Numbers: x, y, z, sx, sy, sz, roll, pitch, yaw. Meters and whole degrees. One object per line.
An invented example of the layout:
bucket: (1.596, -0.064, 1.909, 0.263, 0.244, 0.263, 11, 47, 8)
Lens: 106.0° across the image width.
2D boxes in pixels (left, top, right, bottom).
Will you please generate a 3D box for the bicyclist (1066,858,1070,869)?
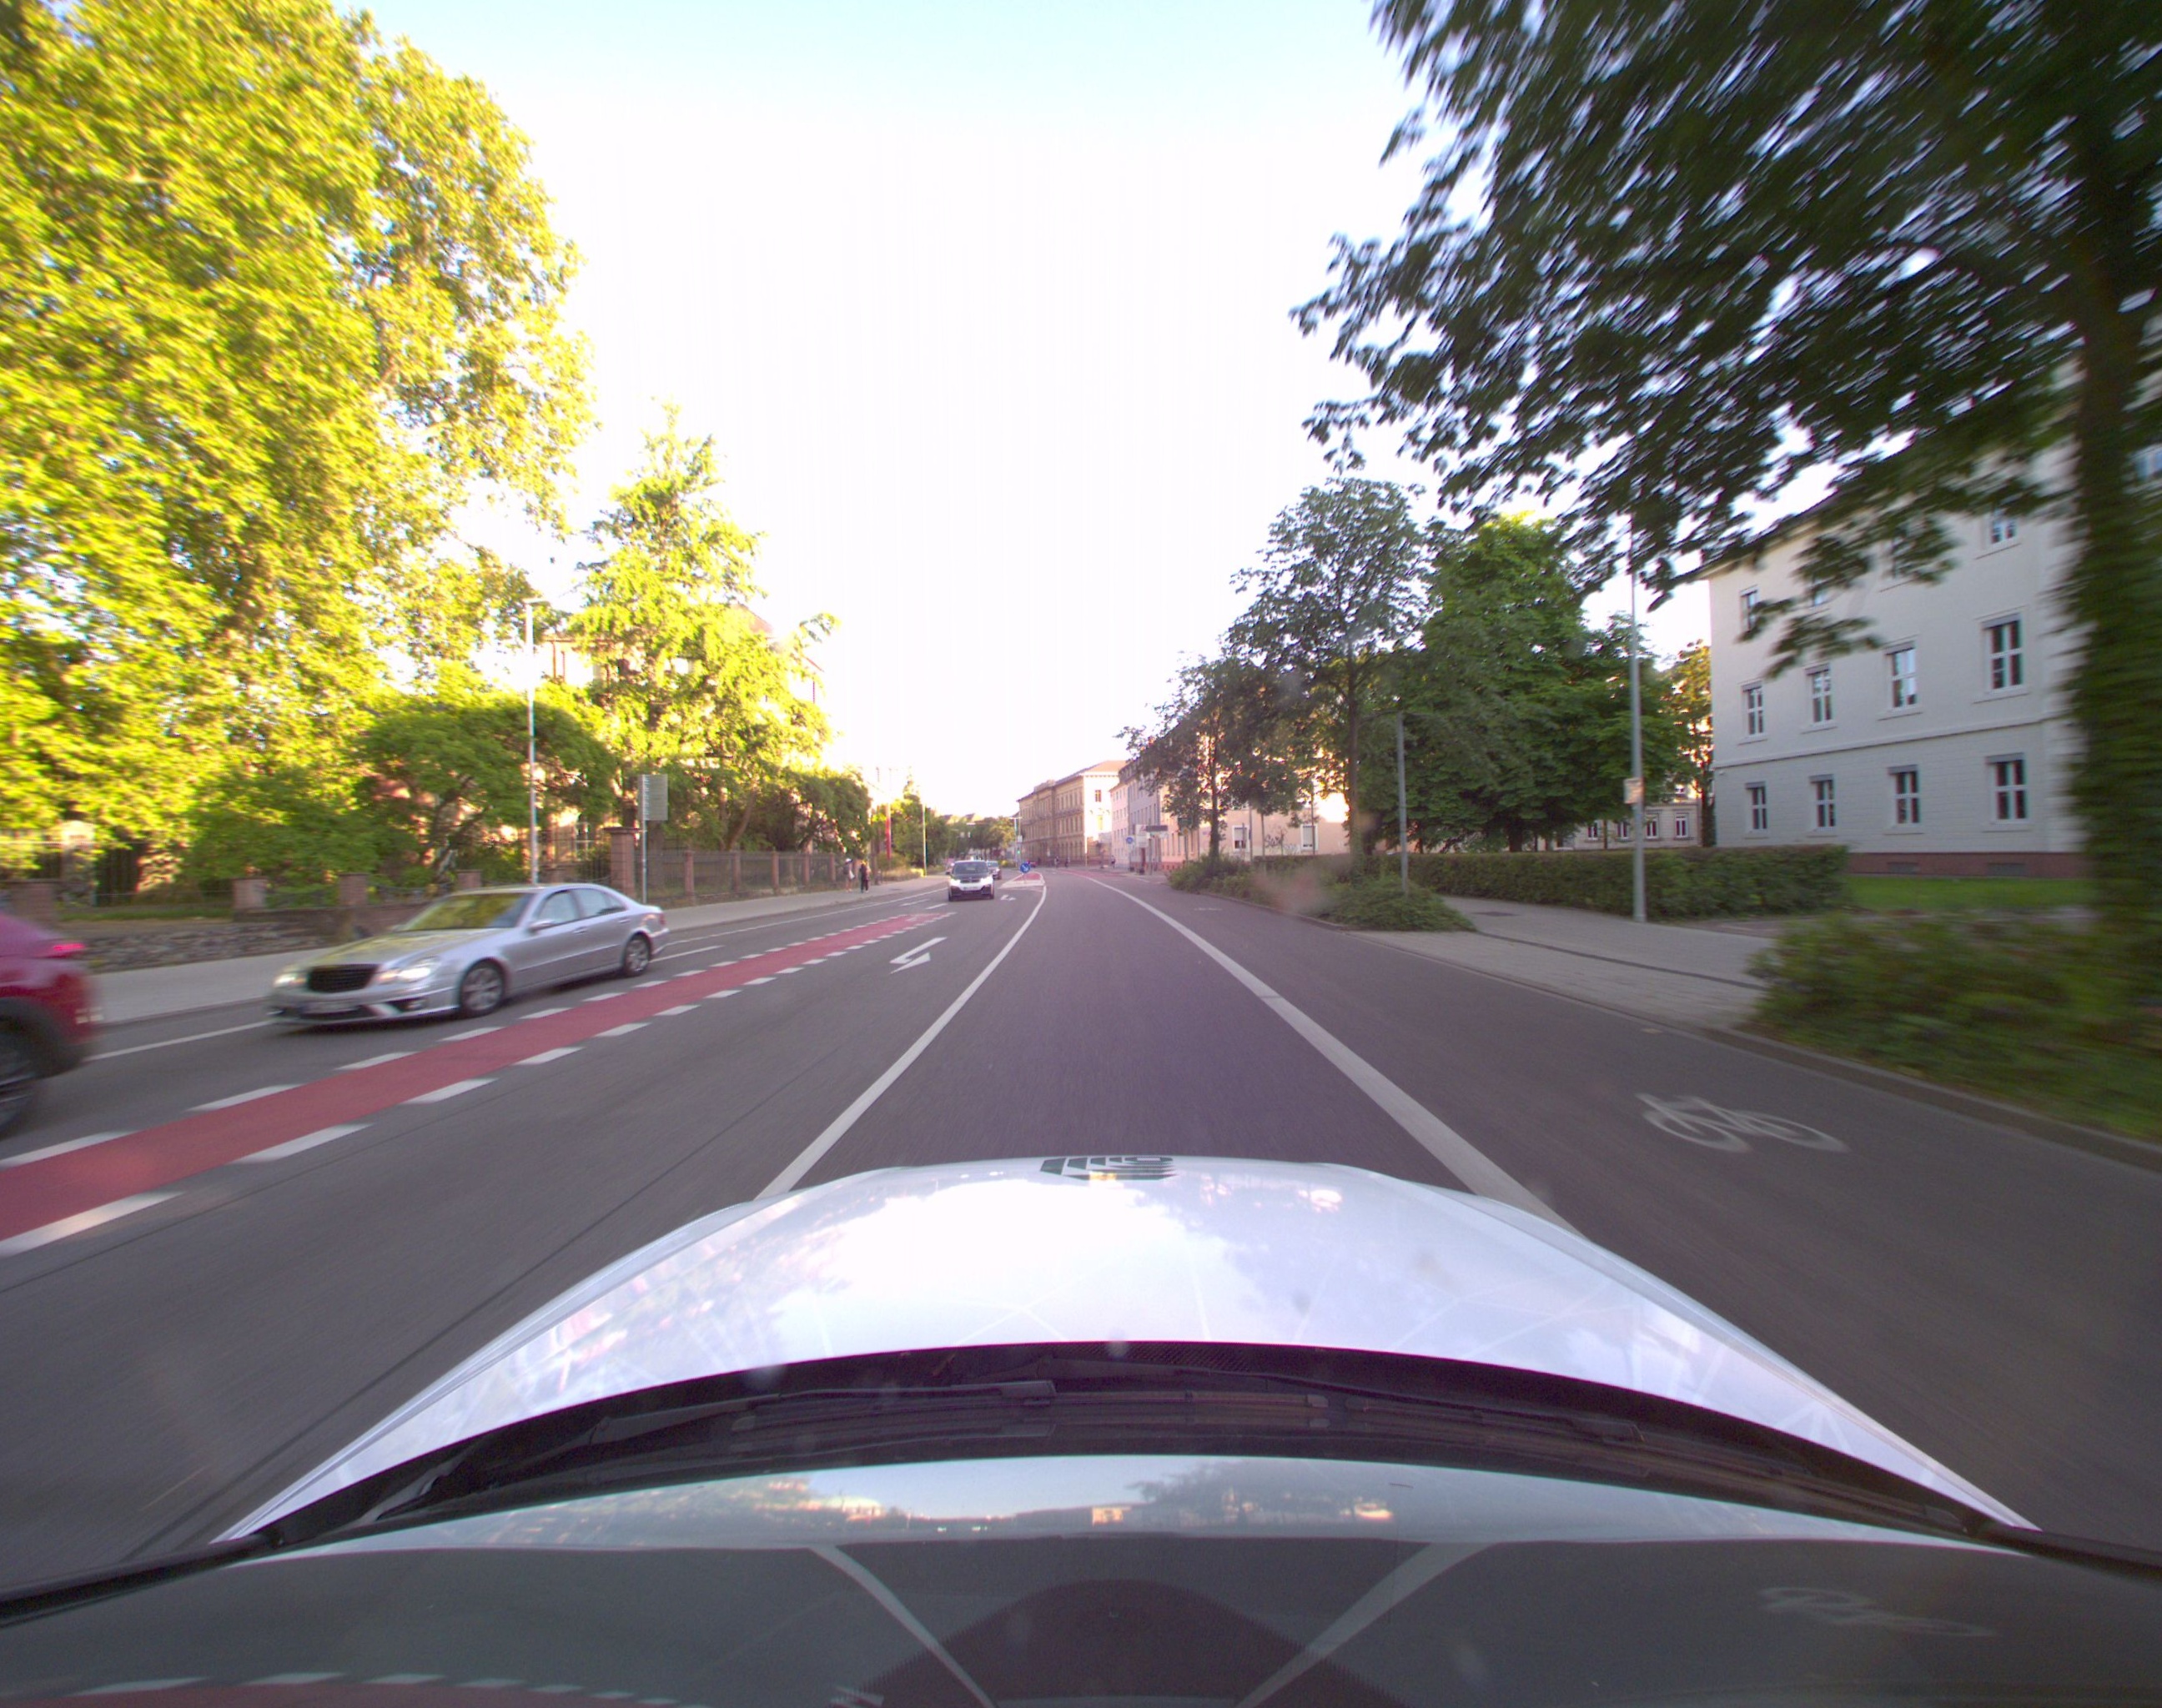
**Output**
bicyclist: (-1.895, 1.387, 118.470, 0.650, 1.475, 0.940, 1, 0, -1)

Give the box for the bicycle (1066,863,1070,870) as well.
bicycle: (-1.911, 1.807, 118.463, 0.650, 1.015, 2.196, 1, 0, -1)

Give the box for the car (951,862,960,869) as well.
car: (-29.509, 2.702, 191.586, 1.994, 1.585, 3.986, -1, 0, -10)

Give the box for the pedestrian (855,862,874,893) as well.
pedestrian: (-11.238, 1.217, 42.325, 0.676, 1.622, 0.691, -1, 0, 11)

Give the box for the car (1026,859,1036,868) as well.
car: (-8.866, 1.708, 144.168, 1.864, 1.510, 3.993, 0, -1, -4)

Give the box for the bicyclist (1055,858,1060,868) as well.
bicyclist: (-3.412, 1.363, 118.563, 0.650, 1.446, 0.879, 1, -1, -2)

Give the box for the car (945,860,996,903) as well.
car: (-4.416, 1.048, 32.980, 1.846, 1.526, 3.991, -3, 0, -6)

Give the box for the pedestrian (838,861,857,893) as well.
pedestrian: (-12.146, 1.180, 42.356, 0.677, 1.622, 0.689, -1, 0, 5)

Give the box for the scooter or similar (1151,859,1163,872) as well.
scooter or similar: (7.690, 1.184, 82.721, 0.629, 1.337, 2.394, -1, -1, -8)

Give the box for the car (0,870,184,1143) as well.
car: (-7.521, 0.974, 3.555, 1.909, 1.624, 4.641, -3, 0, 2)

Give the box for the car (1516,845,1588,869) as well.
car: (35.174, 0.229, 60.861, 4.224, 1.481, 1.872, -3, -1, 3)

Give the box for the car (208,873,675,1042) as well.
car: (-7.336, 1.053, 10.205, 1.909, 1.418, 4.772, -3, 0, 2)

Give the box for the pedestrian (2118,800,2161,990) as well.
pedestrian: (10.224, 0.366, 7.317, 0.768, 1.739, 0.806, -1, 0, -4)

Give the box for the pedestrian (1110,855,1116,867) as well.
pedestrian: (4.424, 0.980, 112.803, 0.759, 1.755, 0.845, -1, -1, 3)

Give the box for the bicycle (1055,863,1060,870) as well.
bicycle: (-3.424, 1.849, 118.568, 0.650, 1.015, 2.196, 1, 0, -1)

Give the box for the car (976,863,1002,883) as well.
car: (-7.173, 1.457, 63.453, 1.834, 1.439, 3.988, -3, 0, -8)
